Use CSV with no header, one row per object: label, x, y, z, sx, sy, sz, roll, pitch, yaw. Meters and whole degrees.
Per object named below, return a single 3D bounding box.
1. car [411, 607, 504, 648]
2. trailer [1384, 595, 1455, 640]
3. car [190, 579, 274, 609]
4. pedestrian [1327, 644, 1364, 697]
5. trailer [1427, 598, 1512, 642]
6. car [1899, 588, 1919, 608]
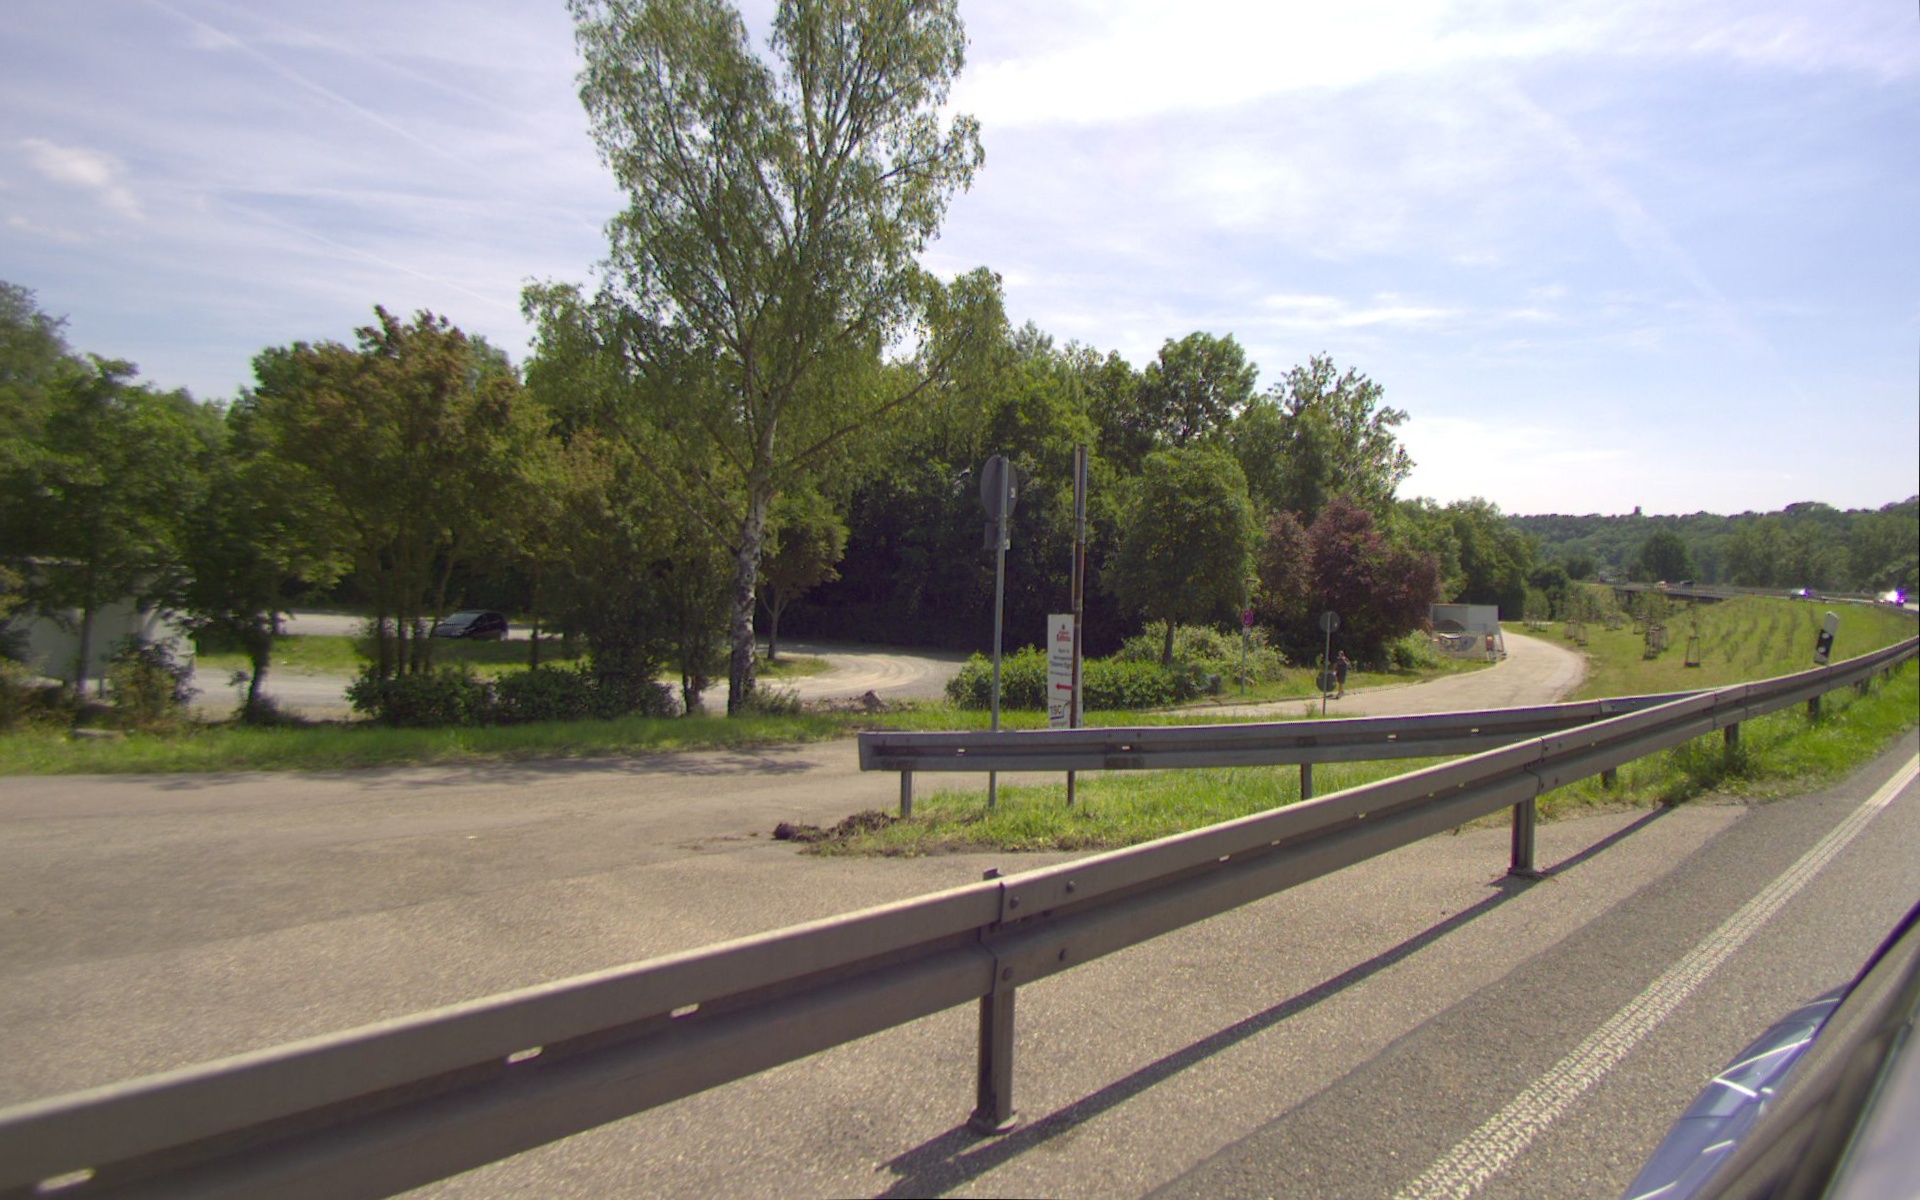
car,-21.507,1.150,43.453,1.668,1.510,3.685,3,2,11
trailer,41.360,1.468,91.597,2.682,3.652,11.865,-1,1,9
car,-41.195,-0.360,57.390,1.865,1.510,4.170,2,2,-1
pedestrian,14.467,2.624,37.996,0.943,1.833,0.886,1,3,-44
trailer,43.811,1.610,87.468,2.681,3.369,11.872,0,1,7
car,91.148,-0.215,96.398,1.970,1.753,3.949,1,3,36
